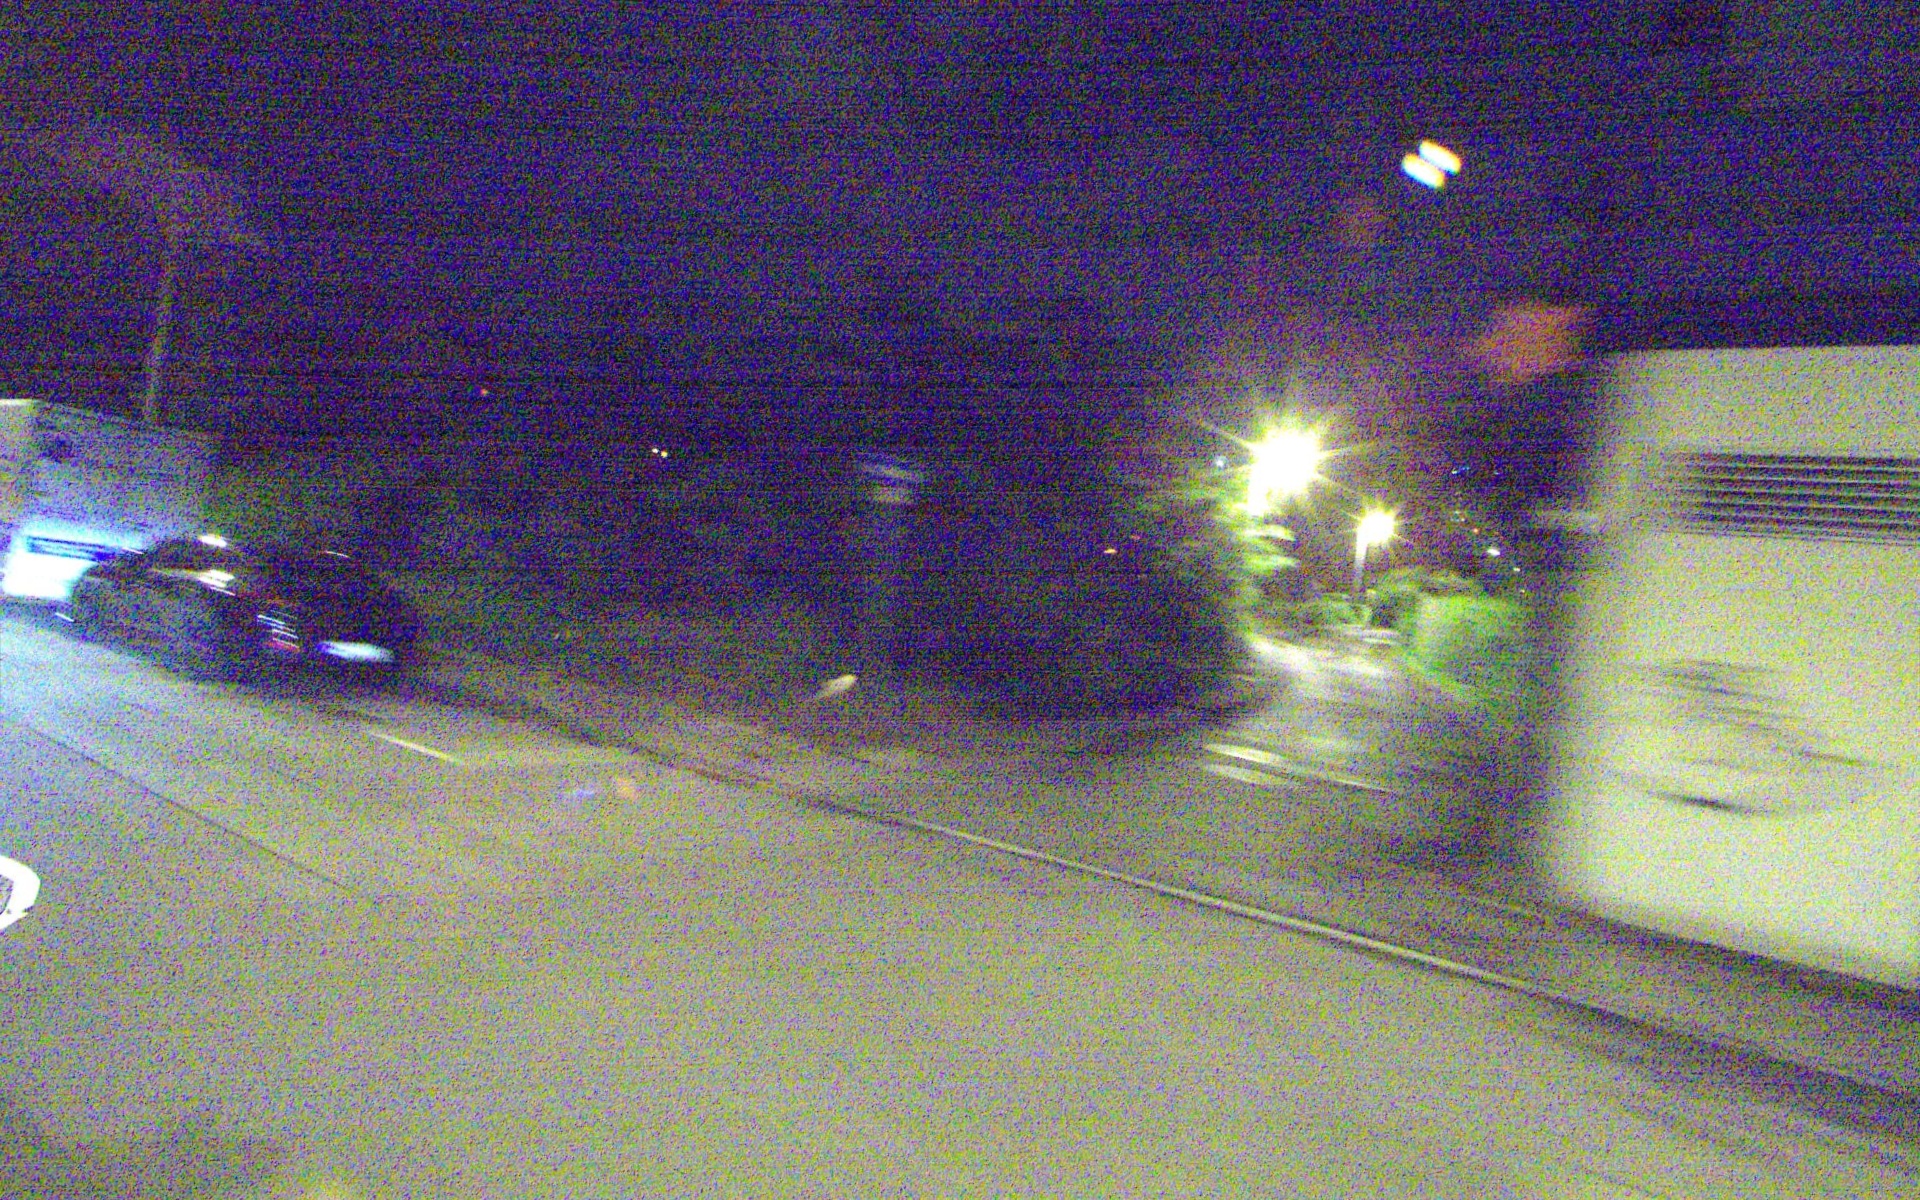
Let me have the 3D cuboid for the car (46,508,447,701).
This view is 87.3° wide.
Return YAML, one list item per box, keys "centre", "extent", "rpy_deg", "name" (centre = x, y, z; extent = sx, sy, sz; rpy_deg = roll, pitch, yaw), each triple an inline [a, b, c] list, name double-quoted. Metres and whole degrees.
- centre: [-7.844, 0.011, 10.947]
  extent: [4.597, 1.403, 1.730]
  rpy_deg: [8, -1, 31]
  name: "car"

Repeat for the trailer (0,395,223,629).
- centre: [-12.427, -1.243, 14.079]
  extent: [3.937, 2.682, 1.996]
  rpy_deg: [8, -1, 35]
  name: "trailer"
